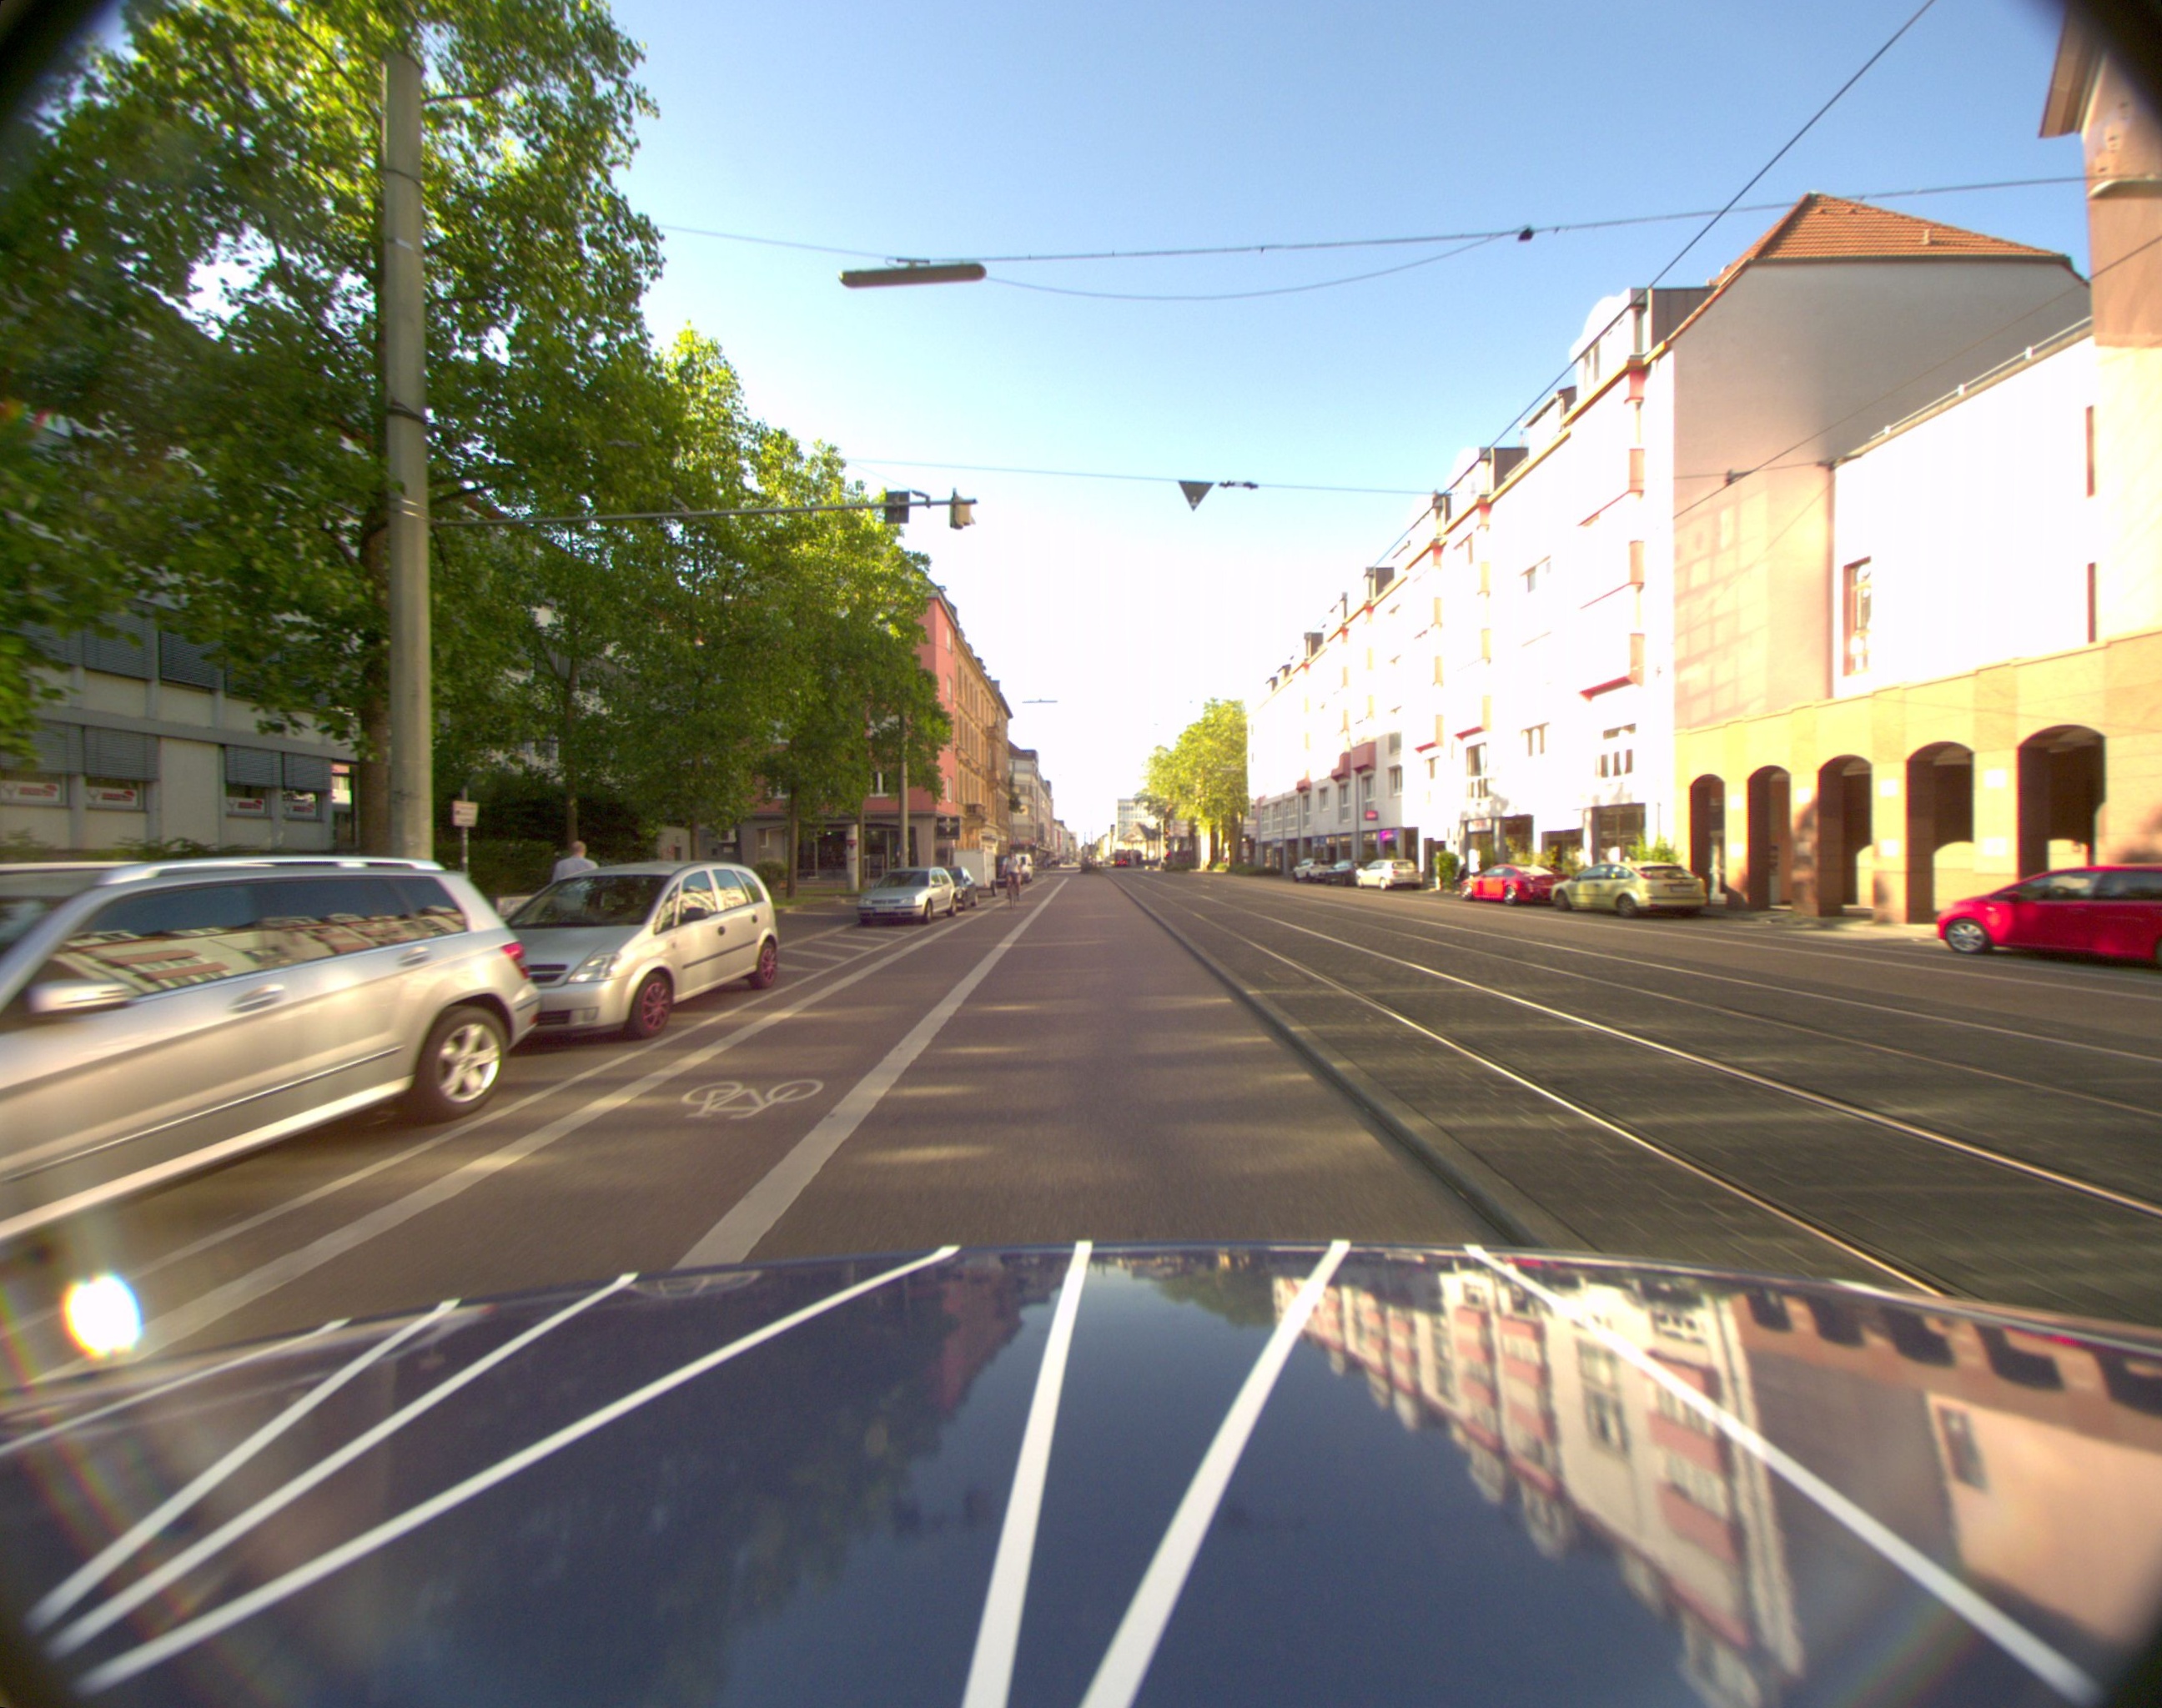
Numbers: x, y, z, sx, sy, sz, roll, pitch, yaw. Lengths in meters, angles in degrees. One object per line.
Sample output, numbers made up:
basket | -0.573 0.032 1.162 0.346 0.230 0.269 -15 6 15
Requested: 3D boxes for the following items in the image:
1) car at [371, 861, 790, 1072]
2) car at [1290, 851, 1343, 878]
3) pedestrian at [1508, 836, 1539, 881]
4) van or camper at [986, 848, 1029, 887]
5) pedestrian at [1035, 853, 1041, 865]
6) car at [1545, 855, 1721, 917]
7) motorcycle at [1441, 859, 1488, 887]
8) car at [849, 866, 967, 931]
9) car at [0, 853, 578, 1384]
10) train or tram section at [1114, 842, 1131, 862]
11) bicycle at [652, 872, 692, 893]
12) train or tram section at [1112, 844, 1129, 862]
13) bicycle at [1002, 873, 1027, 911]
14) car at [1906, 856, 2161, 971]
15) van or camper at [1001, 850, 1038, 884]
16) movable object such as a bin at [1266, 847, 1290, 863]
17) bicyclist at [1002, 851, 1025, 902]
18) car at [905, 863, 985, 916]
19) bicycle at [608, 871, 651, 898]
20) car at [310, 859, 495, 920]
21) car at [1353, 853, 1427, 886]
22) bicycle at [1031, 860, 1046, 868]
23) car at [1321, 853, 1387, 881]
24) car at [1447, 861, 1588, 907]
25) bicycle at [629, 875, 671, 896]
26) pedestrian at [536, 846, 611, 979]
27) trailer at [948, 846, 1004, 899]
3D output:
car | -4.731 0.906 8.046 1.718 1.581 4.065 -2 0 -1
car | 15.207 0.648 49.377 1.922 1.604 4.369 -1 0 -2
pedestrian | 18.489 0.201 31.761 0.822 1.832 0.717 -1 0 -9
van or camper | -4.209 0.742 44.213 1.976 2.033 5.330 -3 0 -1
pedestrian | -6.434 0.762 113.116 0.746 1.717 0.814 -2 0 1
car | 14.791 0.790 20.702 1.673 1.460 4.290 -2 0 0
motorcycle | 16.568 0.818 32.906 0.462 1.187 2.079 -2 0 -17
car | -4.428 1.090 20.203 1.753 1.434 4.316 -2 0 5
car | -4.728 0.942 3.369 1.930 1.823 4.711 -2 0 -2
train or tram section | 8.127 -0.235 151.554 2.981 3.622 16.489 -2 -1 2
bicycle | -19.278 1.357 35.847 1.588 0.957 0.449 1 0 -10
train or tram section | 8.594 -0.228 166.773 2.981 3.623 13.944 -2 0 1
bicycle | -2.168 1.223 25.070 0.649 1.132 2.095 -1 0 -1
car | 14.802 0.776 11.048 1.663 1.413 3.620 -2 0 0
van or camper | -4.020 0.810 50.226 1.936 2.025 5.474 -2 1 0
movable object such as a bin | 24.111 0.133 92.911 2.644 2.002 1.177 -1 0 24
bicyclist | -2.209 0.726 24.957 0.656 1.646 0.927 -1 1 -1
car | -4.335 1.089 24.832 1.807 1.426 4.323 -3 0 -1
bicycle | -19.428 1.301 32.719 1.587 1.118 0.449 1 0 2
car | -18.492 0.902 21.000 1.795 1.455 3.997 -1 0 -6
car | 15.021 0.721 37.191 1.756 1.466 4.206 -1 0 -2
bicycle | -5.741 1.363 103.303 1.951 1.100 0.564 0 0 -1
car | 15.086 0.693 42.274 1.906 1.449 4.826 -1 0 0
car | 14.570 0.942 25.759 1.965 1.317 4.820 -2 0 -1
bicycle | -19.095 1.398 33.686 1.587 0.871 0.449 1 0 2
pedestrian | -7.059 0.785 10.585 0.612 1.797 0.603 0 1 5
trailer | -4.471 0.736 32.820 1.665 2.104 3.843 -2 0 2
